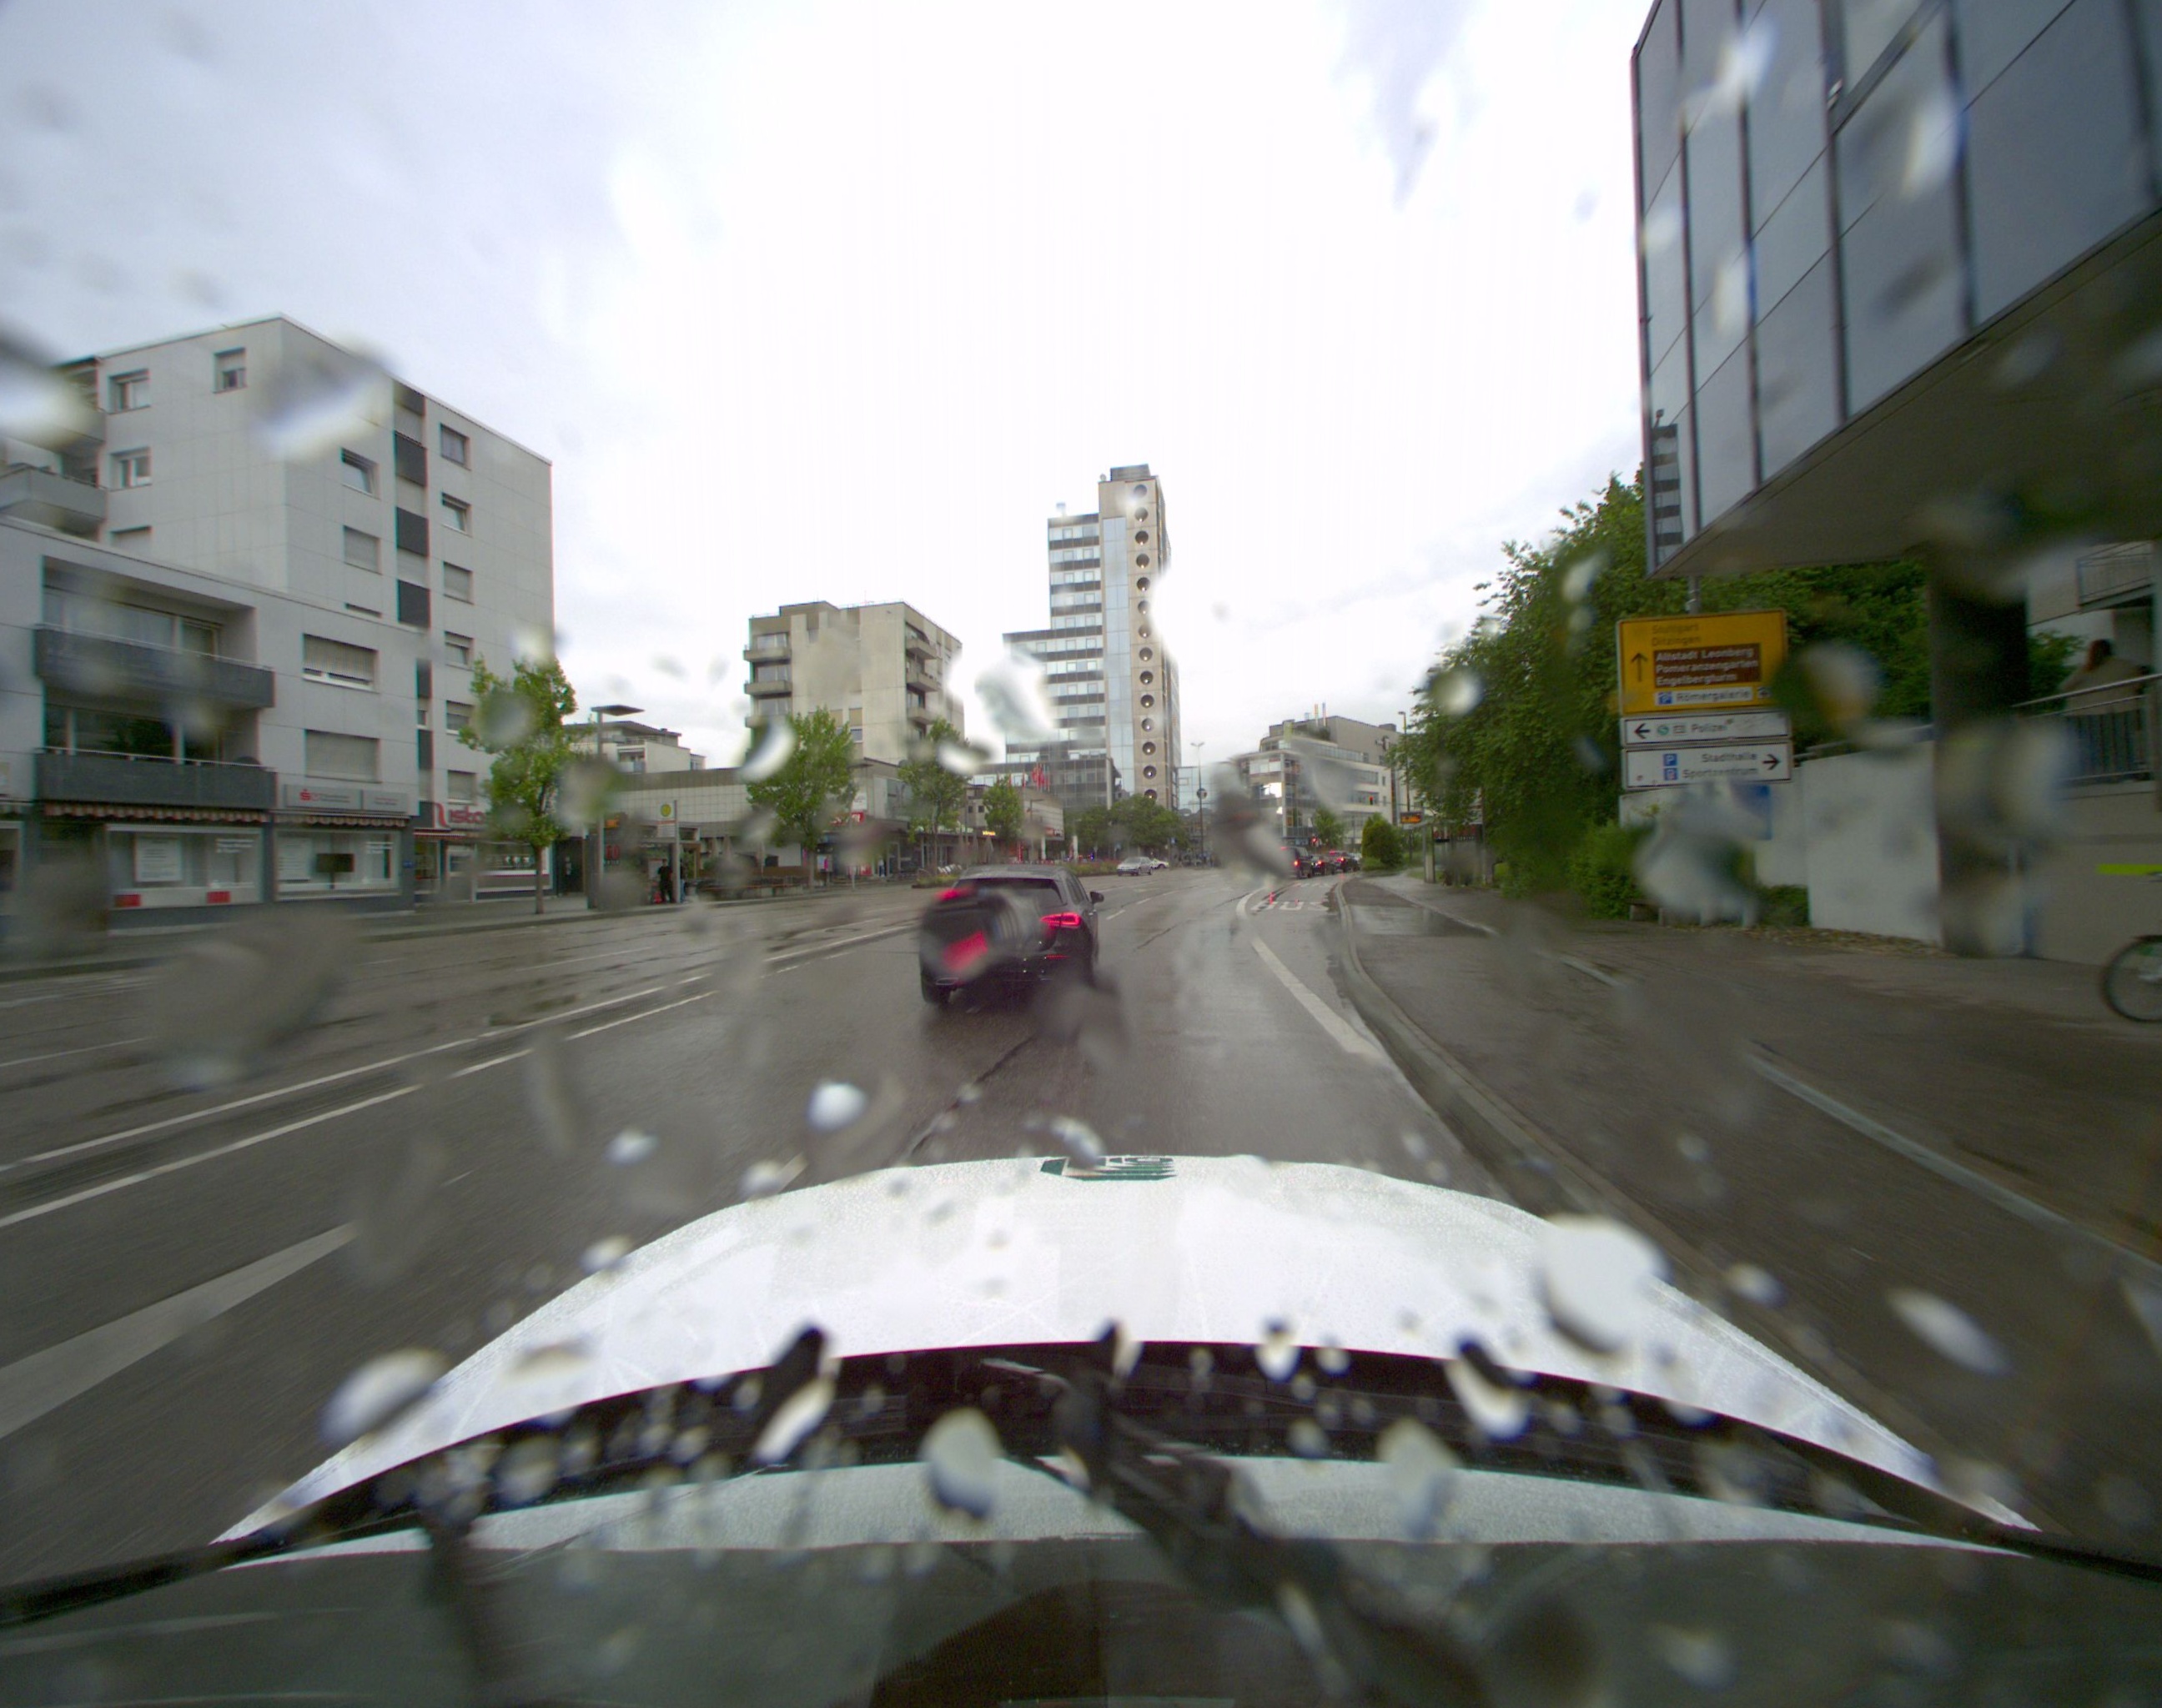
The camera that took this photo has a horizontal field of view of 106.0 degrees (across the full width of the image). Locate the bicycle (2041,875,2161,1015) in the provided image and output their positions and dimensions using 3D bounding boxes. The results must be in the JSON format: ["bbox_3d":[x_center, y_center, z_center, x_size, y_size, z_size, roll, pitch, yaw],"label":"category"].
[{"bbox_3d":[8.384,0.623,5.923,1.836,0.951,0.538,-4,-1,12],"label":"bicycle"}]

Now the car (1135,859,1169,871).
[{"bbox_3d":[8.436,1.321,96.670,3.964,1.384,1.732,-1,0,8],"label":"car"}]

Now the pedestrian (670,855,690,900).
[{"bbox_3d":[-15.494,0.914,31.468,0.484,1.718,0.539,-1,-1,7],"label":"pedestrian"}]

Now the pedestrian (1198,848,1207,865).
[{"bbox_3d":[12.502,0.236,83.648,0.799,1.754,0.816,-1,-1,18],"label":"pedestrian"}]

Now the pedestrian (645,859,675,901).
[{"bbox_3d":[-16.269,0.996,31.471,0.791,1.571,0.637,-1,-1,3],"label":"pedestrian"}]

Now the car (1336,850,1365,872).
[{"bbox_3d":[22.790,0.604,68.715,1.812,1.770,3.878,-1,0,26],"label":"car"}]

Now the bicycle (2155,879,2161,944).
[{"bbox_3d":[8.385,0.627,5.220,1.838,1.033,0.630,-3,-2,9],"label":"bicycle"}]

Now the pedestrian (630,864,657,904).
[{"bbox_3d":[-16.330,1.110,30.406,0.631,1.470,0.637,-1,-1,3],"label":"pedestrian"}]

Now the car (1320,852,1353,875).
[{"bbox_3d":[19.601,0.714,62.341,1.893,1.725,3.831,-1,0,26],"label":"car"}]

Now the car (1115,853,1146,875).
[{"bbox_3d":[3.787,0.757,62.094,1.679,1.632,3.525,-1,0,15],"label":"car"}]

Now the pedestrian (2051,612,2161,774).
[{"bbox_3d":[11.773,-1.808,9.310,0.648,1.713,0.602,0,0,14],"label":"pedestrian"}]

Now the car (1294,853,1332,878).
[{"bbox_3d":[16.151,0.756,56.562,1.869,1.672,4.023,-1,0,26],"label":"car"}]

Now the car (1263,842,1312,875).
[{"bbox_3d":[12.749,0.269,50.009,2.024,1.896,4.163,-1,0,27],"label":"car"}]

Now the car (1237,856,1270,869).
[{"bbox_3d":[20.695,1.035,97.983,3.856,1.518,1.790,-1,0,9],"label":"car"}]

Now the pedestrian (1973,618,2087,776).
[{"bbox_3d":[11.113,-1.809,9.558,0.648,1.713,0.602,0,0,14],"label":"pedestrian"}]

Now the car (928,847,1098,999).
[{"bbox_3d":[-0.641,0.692,10.165,1.657,1.481,4.095,-1,0,1],"label":"car"}]
